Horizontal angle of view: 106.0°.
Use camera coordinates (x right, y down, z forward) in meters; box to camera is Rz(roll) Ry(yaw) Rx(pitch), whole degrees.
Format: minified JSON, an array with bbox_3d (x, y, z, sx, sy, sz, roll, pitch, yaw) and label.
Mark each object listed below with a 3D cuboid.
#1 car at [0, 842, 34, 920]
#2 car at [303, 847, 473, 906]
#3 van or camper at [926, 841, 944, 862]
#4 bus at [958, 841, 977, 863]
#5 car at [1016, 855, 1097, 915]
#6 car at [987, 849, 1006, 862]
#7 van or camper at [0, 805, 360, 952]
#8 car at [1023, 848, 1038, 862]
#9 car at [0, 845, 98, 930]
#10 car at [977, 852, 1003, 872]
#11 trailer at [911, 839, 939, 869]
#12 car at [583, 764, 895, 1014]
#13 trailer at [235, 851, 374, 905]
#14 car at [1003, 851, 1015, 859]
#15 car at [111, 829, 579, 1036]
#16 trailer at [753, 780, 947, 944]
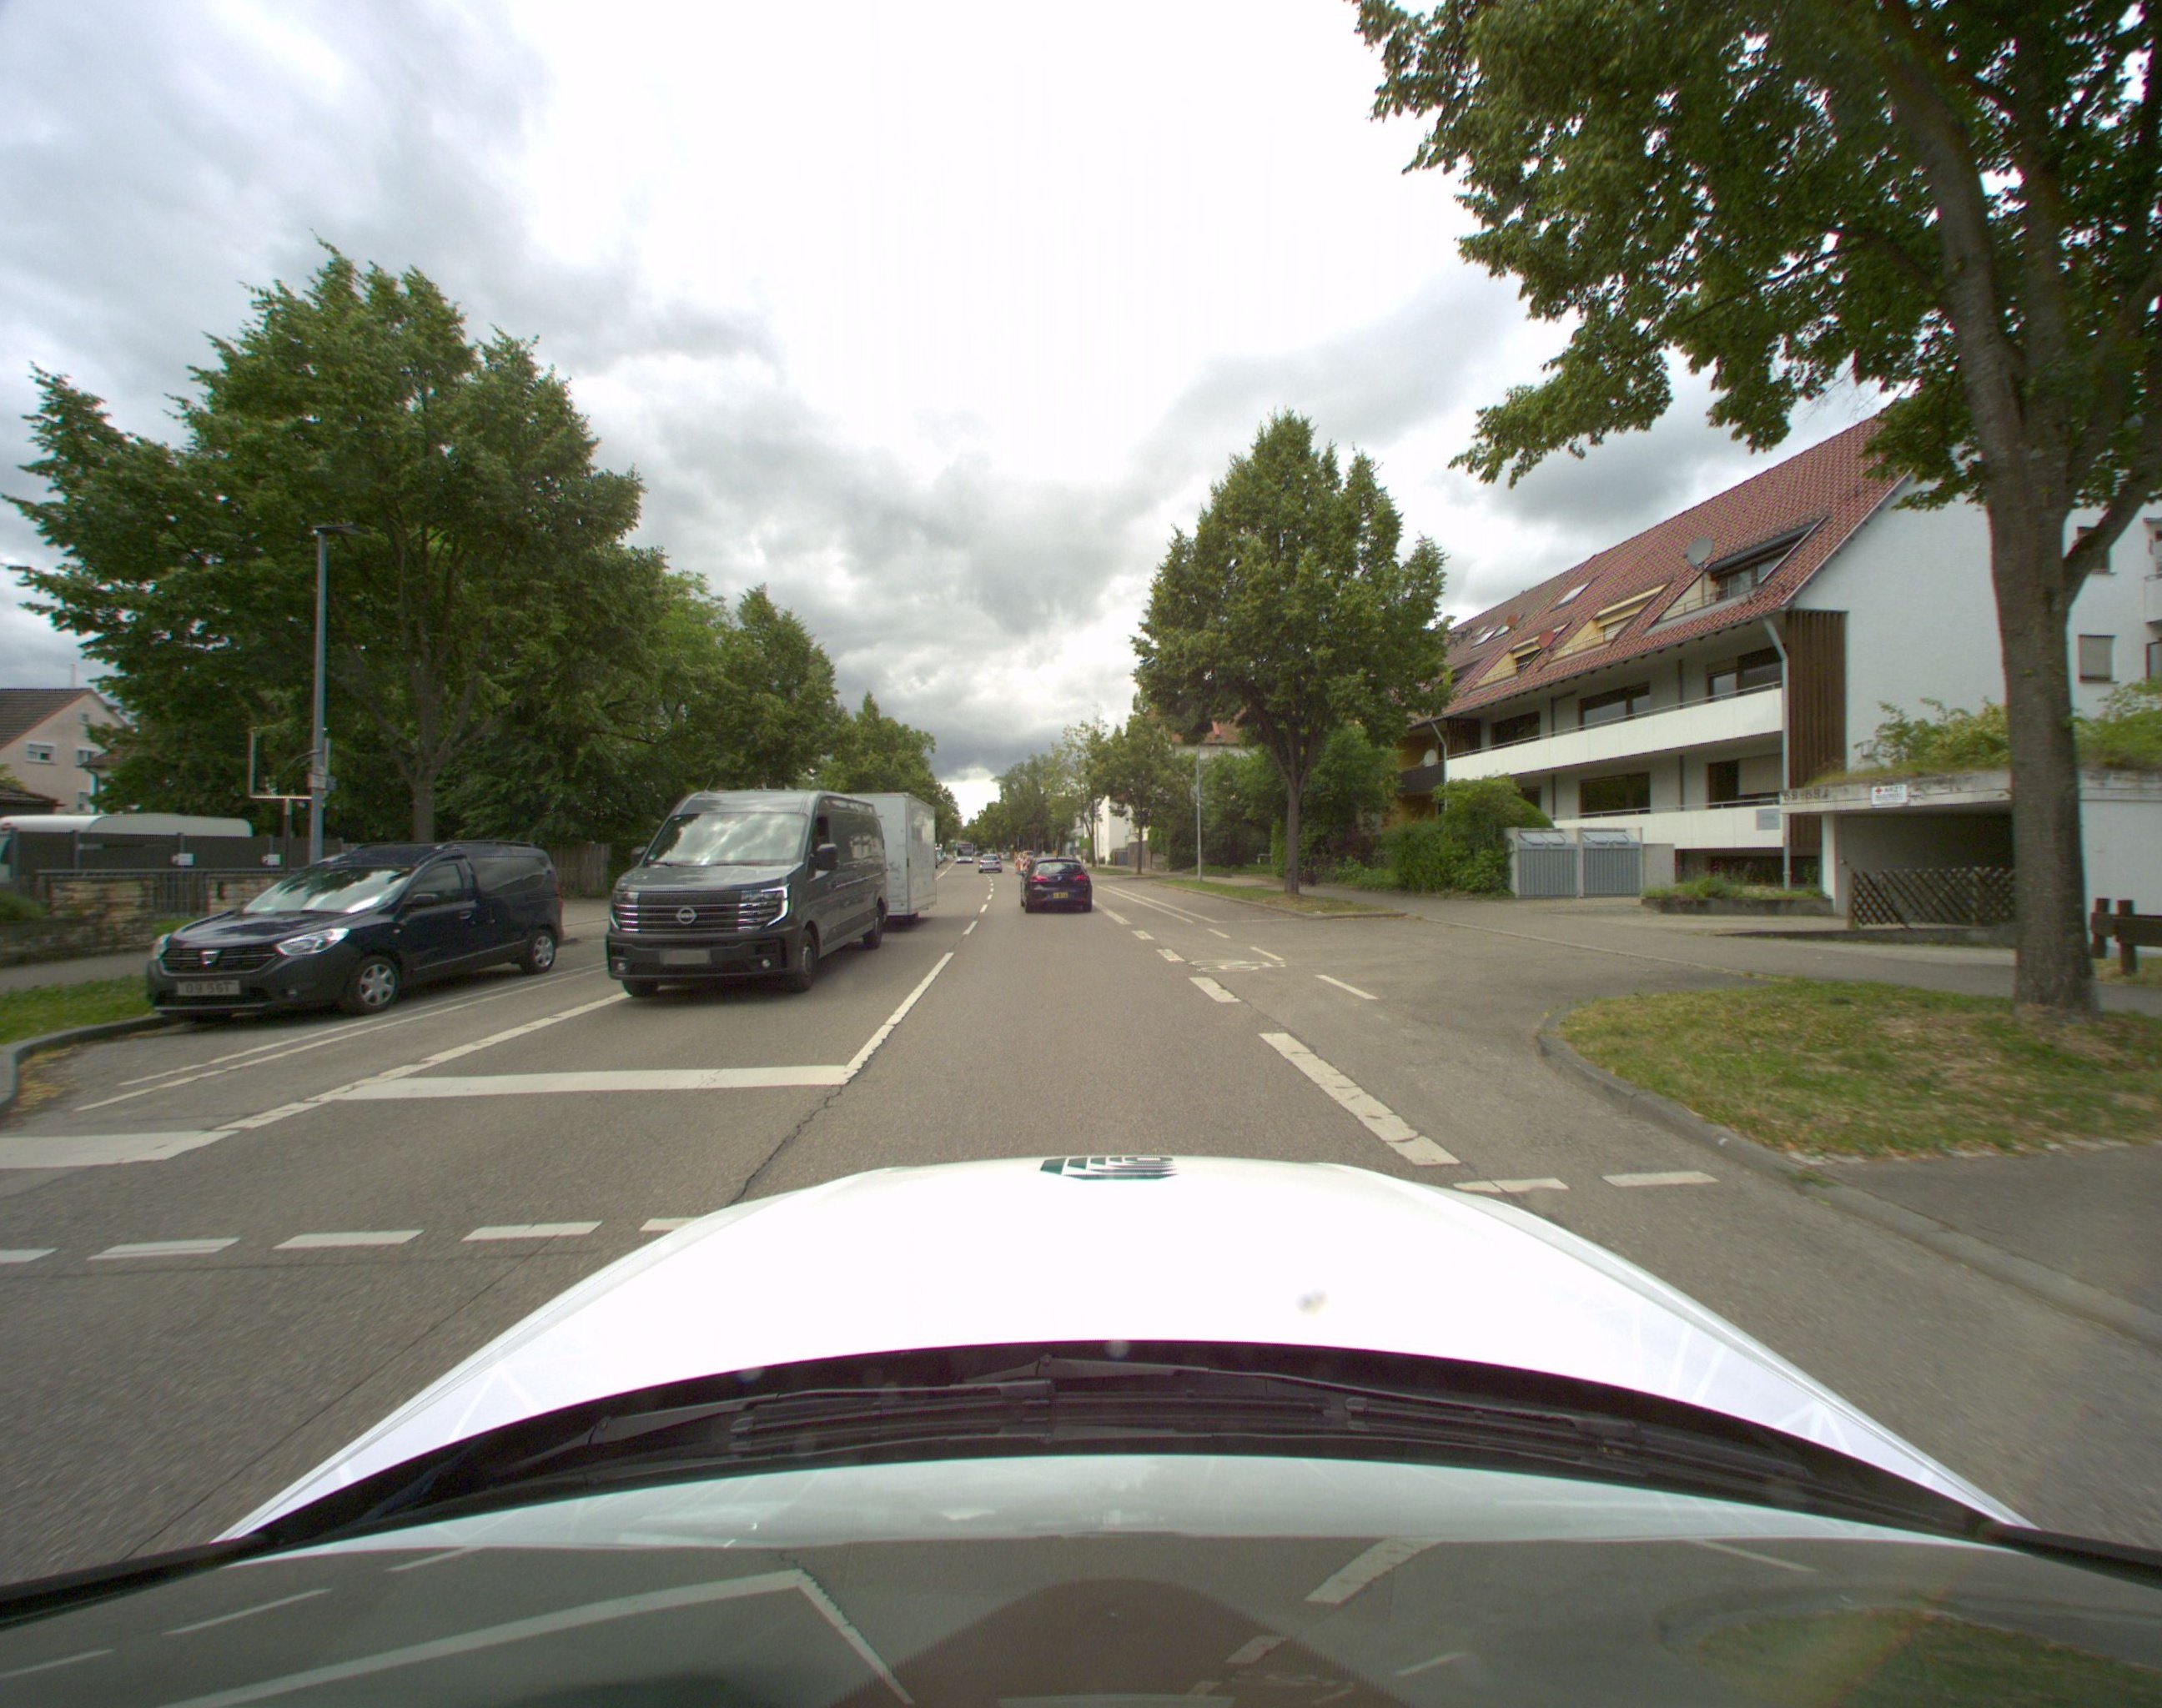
[{"bbox_3d":[-29.285,0.720,19.744,1.981,2.013,4.340,-1,0,10],"label":"car"},{"bbox_3d":[-22.807,0.717,26.922,3.971,1.794,1.923,-1,0,2],"label":"car"},{"bbox_3d":[-22.062,-0.319,123.238,2.434,3.009,7.671,-1,0,-8],"label":"van or camper"},{"bbox_3d":[-17.867,-0.211,128.944,2.802,3.288,17.999,0,0,-7],"label":"bus"},{"bbox_3d":[-0.742,0.779,22.039,1.782,1.449,3.548,-1,0,-8],"label":"car"},{"bbox_3d":[-10.261,0.205,98.918,1.994,1.530,3.986,-1,0,-10],"label":"car"},{"bbox_3d":[-21.060,0.493,19.159,2.584,2.883,5.944,-1,0,4],"label":"van or camper"},{"bbox_3d":[-6.589,0.111,105.636,1.632,1.665,3.637,-1,0,-8],"label":"car"},{"bbox_3d":[-26.471,0.803,19.022,1.982,2.013,4.009,-1,0,8],"label":"car"},{"bbox_3d":[-7.401,0.609,66.274,1.991,1.558,3.991,-1,0,-6],"label":"car"},{"bbox_3d":[-16.434,0.026,86.211,2.673,2.941,7.452,0,-1,-9],"label":"trailer"},{"bbox_3d":[-4.161,0.338,11.384,2.055,2.480,6.304,-1,0,-4],"label":"car"},{"bbox_3d":[-26.431,0.779,27.797,3.133,1.720,1.665,-1,0,2],"label":"trailer"},{"bbox_3d":[-13.139,0.146,148.750,2.019,1.443,5.011,0,0,-8],"label":"car"},{"bbox_3d":[-8.114,0.713,9.693,1.703,1.874,4.393,-1,0,-3],"label":"car"},{"bbox_3d":[-4.683,0.124,17.974,2.629,2.878,6.862,-1,0,-3],"label":"trailer"}]
